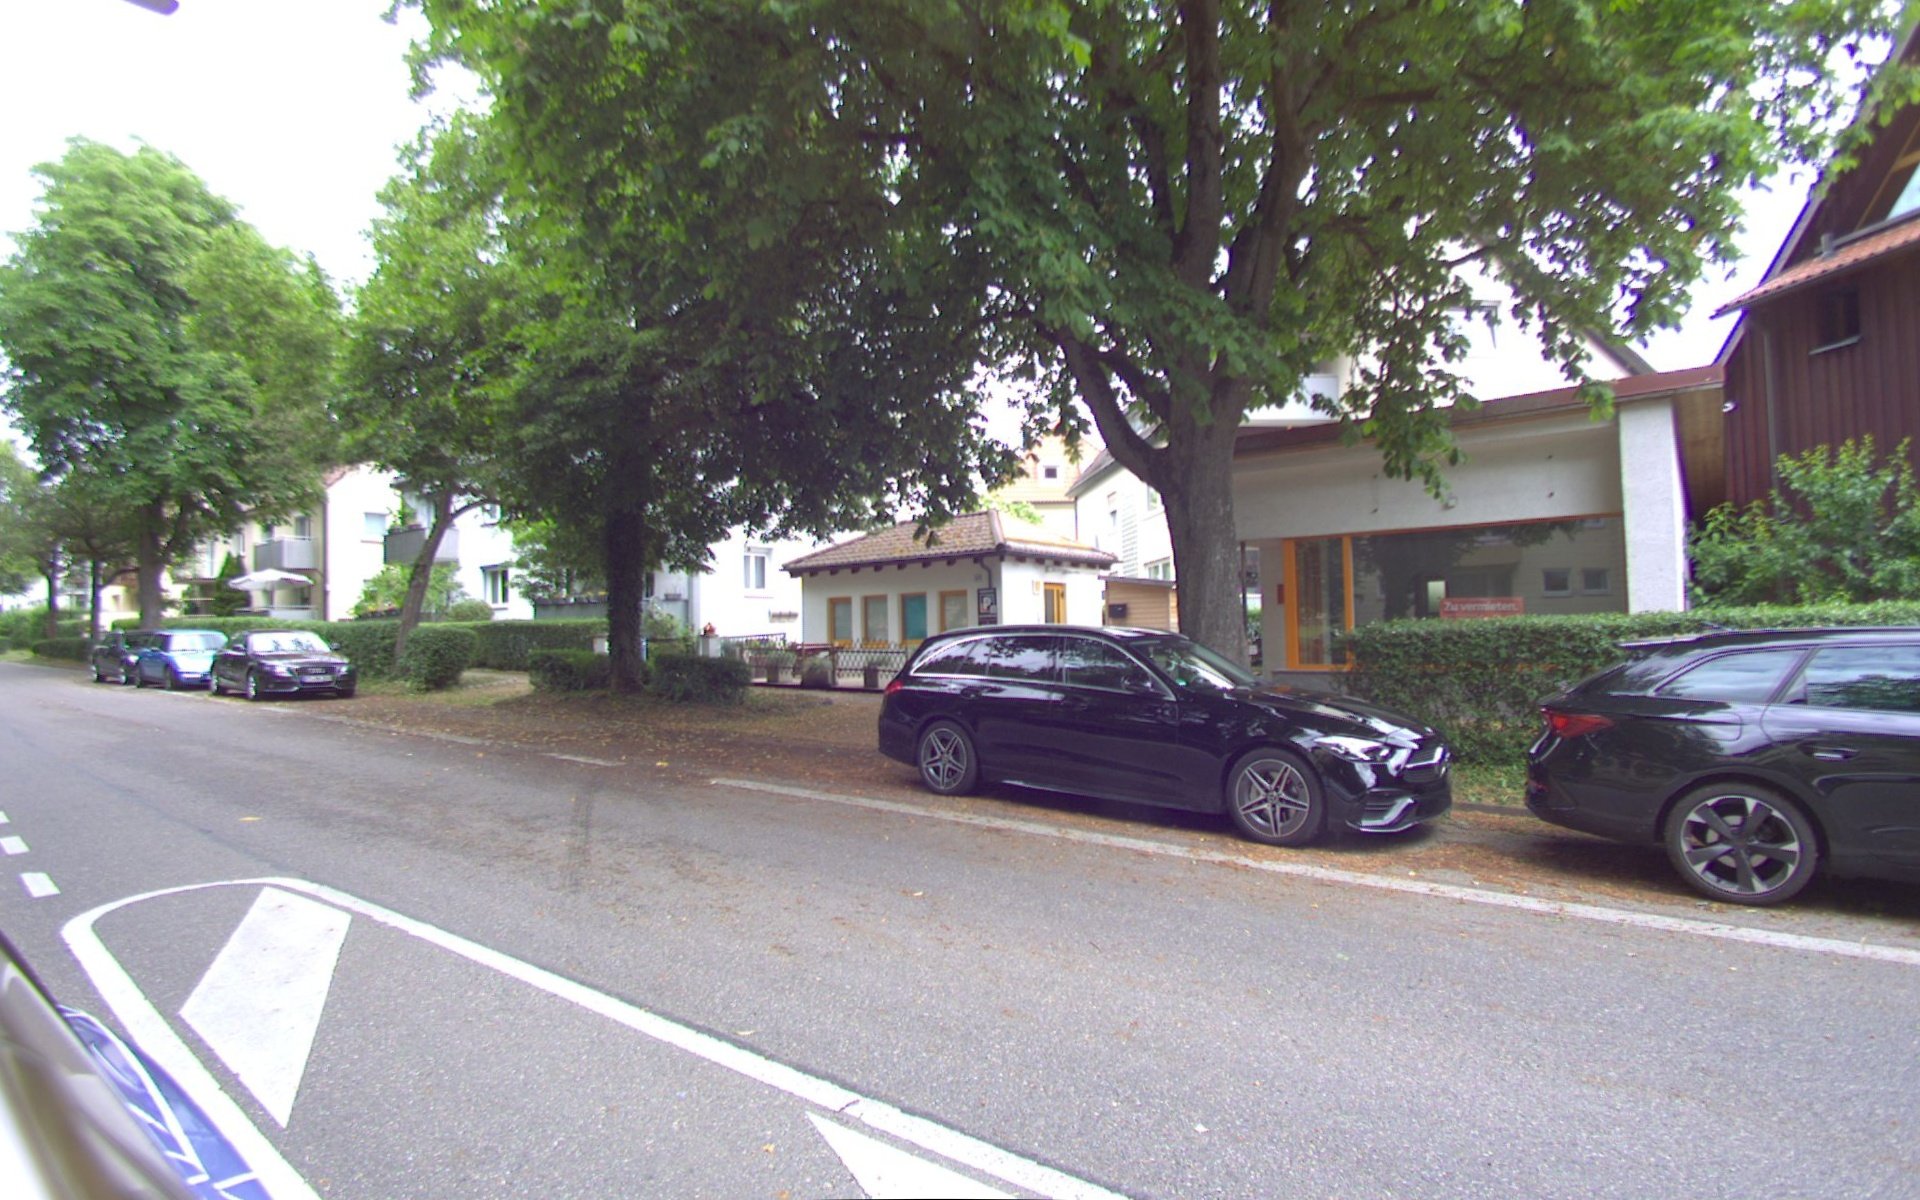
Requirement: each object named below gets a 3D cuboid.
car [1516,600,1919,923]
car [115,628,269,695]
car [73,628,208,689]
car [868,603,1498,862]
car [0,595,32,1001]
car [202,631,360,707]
[{"bbox_3d":[5.457,0.756,4.992,4.536,1.497,1.674,-2,-3,38],"label":"car"},{"bbox_3d":[-18.910,1.463,24.864,4.558,1.512,1.866,-2,-3,37],"label":"car"},{"bbox_3d":[-22.598,1.562,27.856,4.558,1.545,1.866,-2,-3,37],"label":"car"},{"bbox_3d":[1.562,0.864,8.204,4.612,1.511,1.973,-2,-3,41],"label":"car"},{"bbox_3d":[-5.915,0.776,4.600,4.612,1.511,1.973,-2,-3,41],"label":"car"},{"bbox_3d":[-14.216,1.377,21.097,4.169,1.414,1.713,-2,-3,41],"label":"car"}]
